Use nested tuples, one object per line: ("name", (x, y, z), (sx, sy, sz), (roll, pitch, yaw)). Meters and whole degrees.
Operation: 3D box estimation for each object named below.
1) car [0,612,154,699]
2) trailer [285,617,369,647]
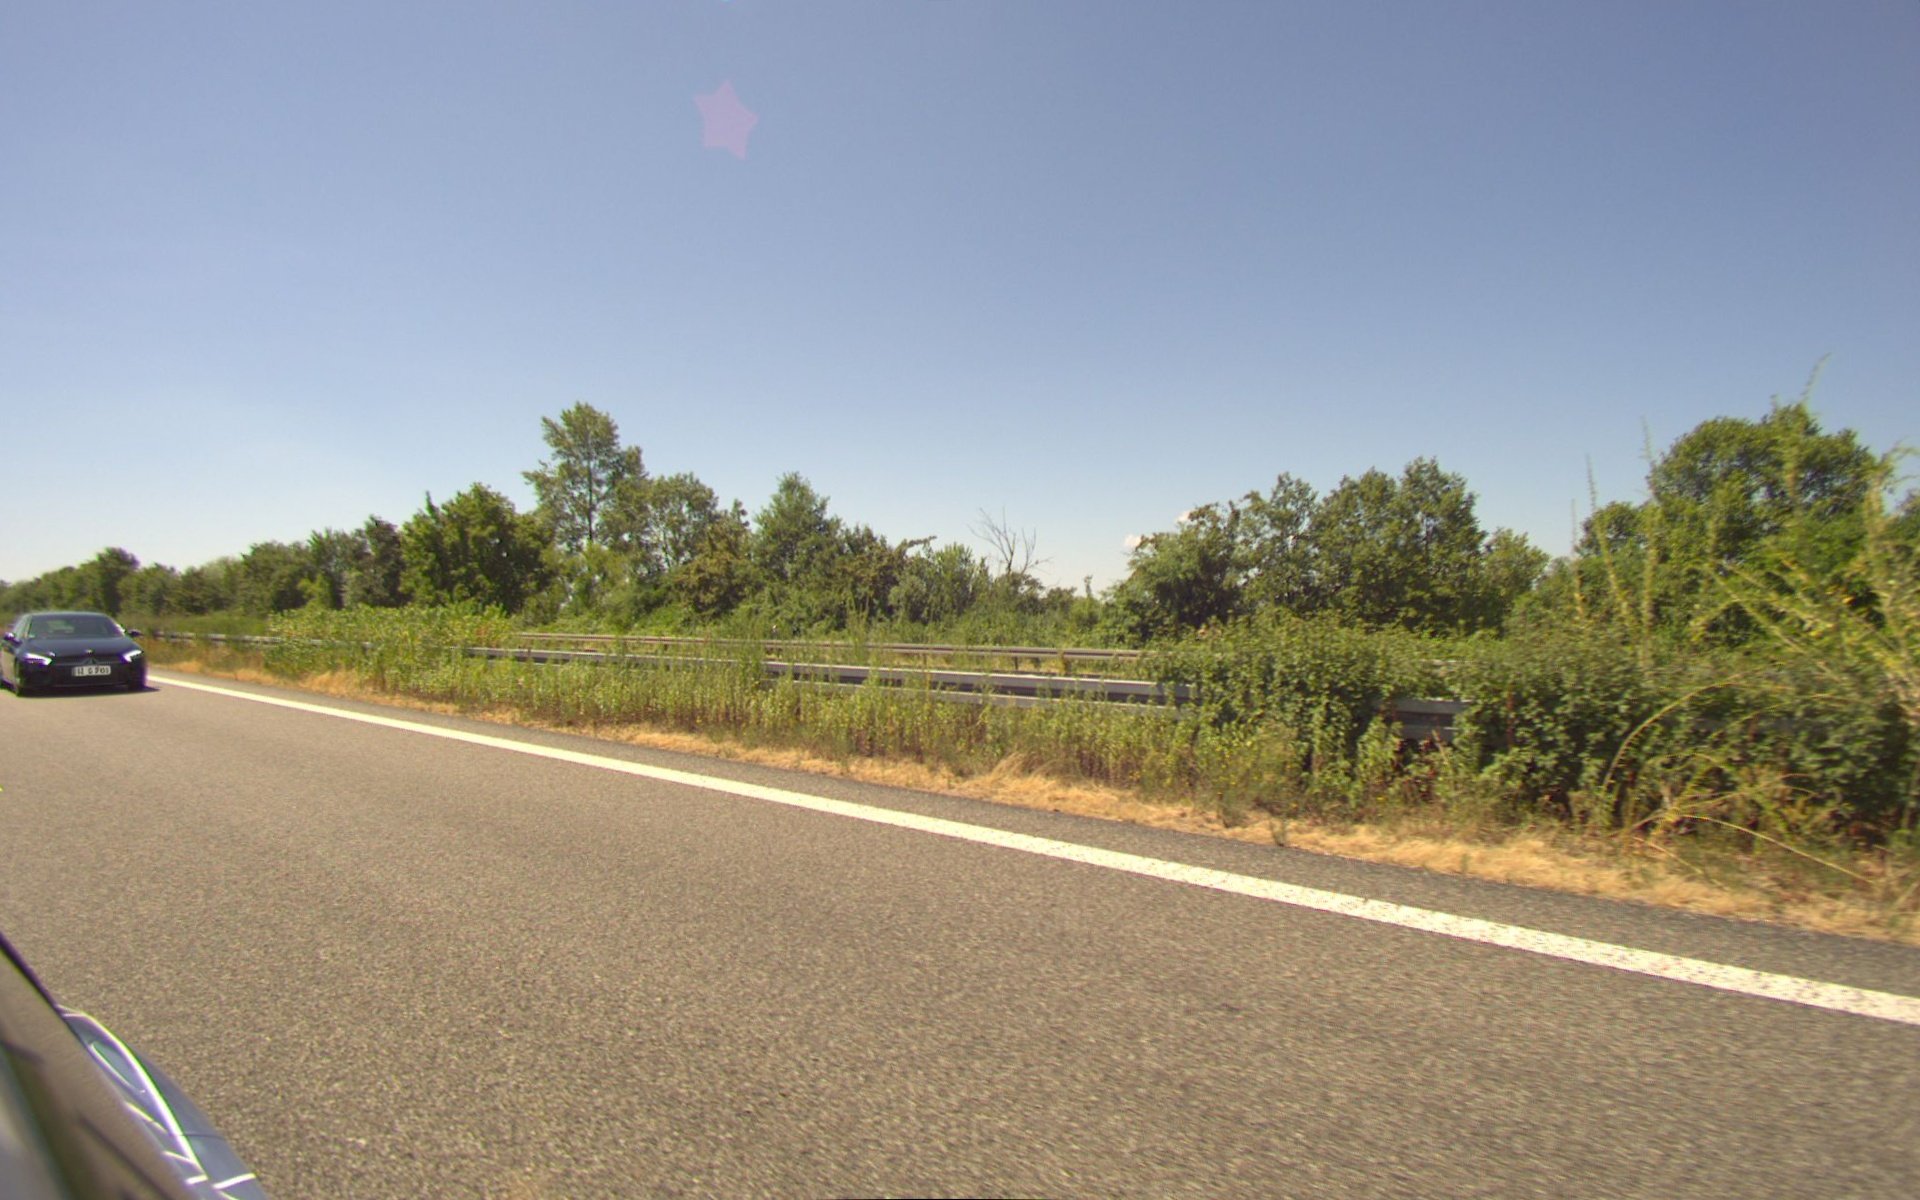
("car", (-16.375, 0.940, 18.591), (4.050, 1.422, 1.773), (-1, -1, 41))
("trailer", (-37.804, 1.861, 60.392), (6.486, 1.697, 2.463), (-1, -1, 41))
